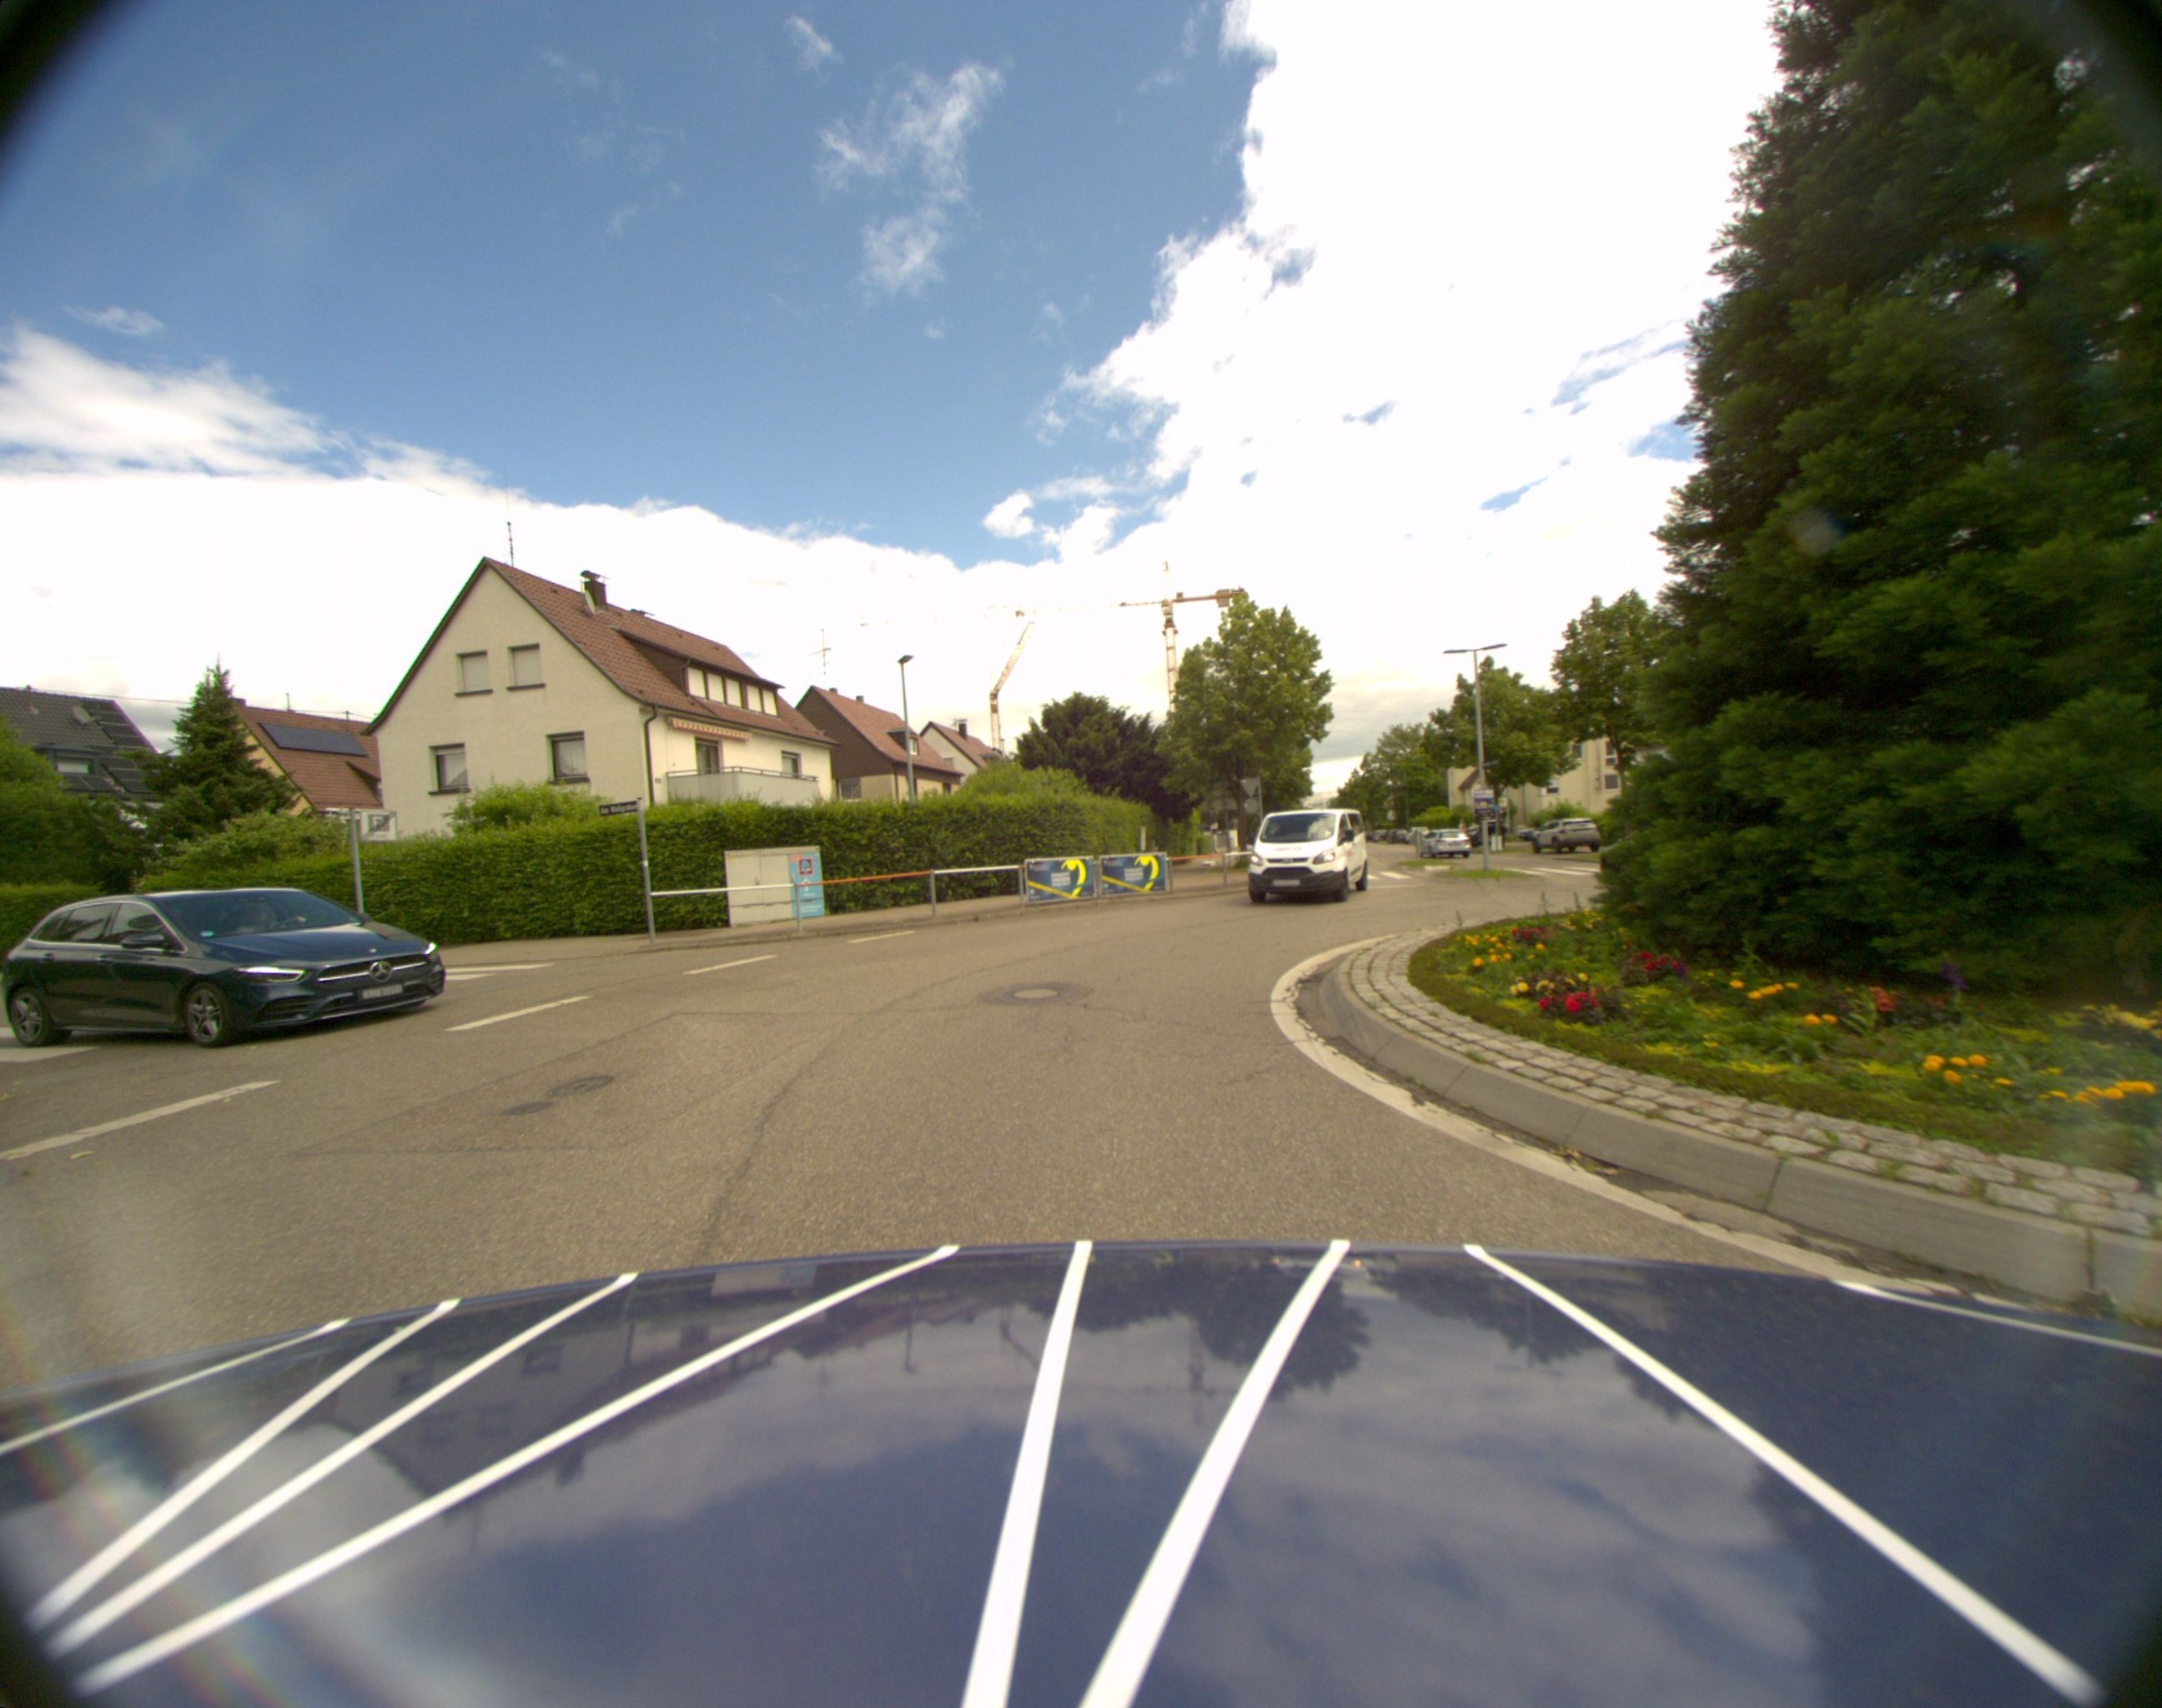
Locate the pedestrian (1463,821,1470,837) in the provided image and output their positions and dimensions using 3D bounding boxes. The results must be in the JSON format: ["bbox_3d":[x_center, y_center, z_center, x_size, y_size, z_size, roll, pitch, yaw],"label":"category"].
[{"bbox_3d":[32.276,-2.098,63.559,0.386,1.357,0.413,-3,1,17],"label":"pedestrian"}]

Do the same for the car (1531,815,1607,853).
[{"bbox_3d":[23.322,-0.969,36.486,1.749,1.626,4.051,-3,1,13],"label":"car"}]

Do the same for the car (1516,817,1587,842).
[{"bbox_3d":[34.220,-1.781,55.345,4.042,1.531,1.753,-3,1,9],"label":"car"}]

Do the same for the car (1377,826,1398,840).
[{"bbox_3d":[35.292,-2.410,87.550,1.608,1.525,3.749,-3,1,12],"label":"car"}]

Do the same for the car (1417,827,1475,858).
[{"bbox_3d":[18.749,-0.604,39.230,1.804,1.446,4.696,-2,1,14],"label":"car"}]

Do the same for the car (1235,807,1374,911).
[{"bbox_3d":[5.289,0.026,17.429,1.995,2.002,5.058,-2,1,28],"label":"car"}]

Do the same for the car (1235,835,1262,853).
[{"bbox_3d":[13.949,-0.838,63.059,1.808,1.334,4.004,-3,1,17],"label":"car"}]

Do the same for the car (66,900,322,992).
[{"bbox_3d":[-18.033,1.848,15.526,3.611,1.446,1.709,-5,1,10],"label":"car"}]

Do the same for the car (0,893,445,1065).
[{"bbox_3d":[-9.355,1.286,8.167,4.313,1.440,1.585,-3,1,15],"label":"car"}]

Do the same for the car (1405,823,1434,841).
[{"bbox_3d":[32.483,-2.095,72.936,1.759,1.553,3.749,-3,1,12],"label":"car"}]

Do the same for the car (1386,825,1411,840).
[{"bbox_3d":[33.508,-2.287,80.204,1.664,1.467,3.749,-3,1,12],"label":"car"}]

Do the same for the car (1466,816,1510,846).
[{"bbox_3d":[27.246,-1.536,51.026,1.749,1.819,4.052,-3,1,17],"label":"car"}]

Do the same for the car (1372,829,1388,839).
[{"bbox_3d":[38.482,-2.534,97.829,1.496,1.159,3.197,-3,1,14],"label":"car"}]
